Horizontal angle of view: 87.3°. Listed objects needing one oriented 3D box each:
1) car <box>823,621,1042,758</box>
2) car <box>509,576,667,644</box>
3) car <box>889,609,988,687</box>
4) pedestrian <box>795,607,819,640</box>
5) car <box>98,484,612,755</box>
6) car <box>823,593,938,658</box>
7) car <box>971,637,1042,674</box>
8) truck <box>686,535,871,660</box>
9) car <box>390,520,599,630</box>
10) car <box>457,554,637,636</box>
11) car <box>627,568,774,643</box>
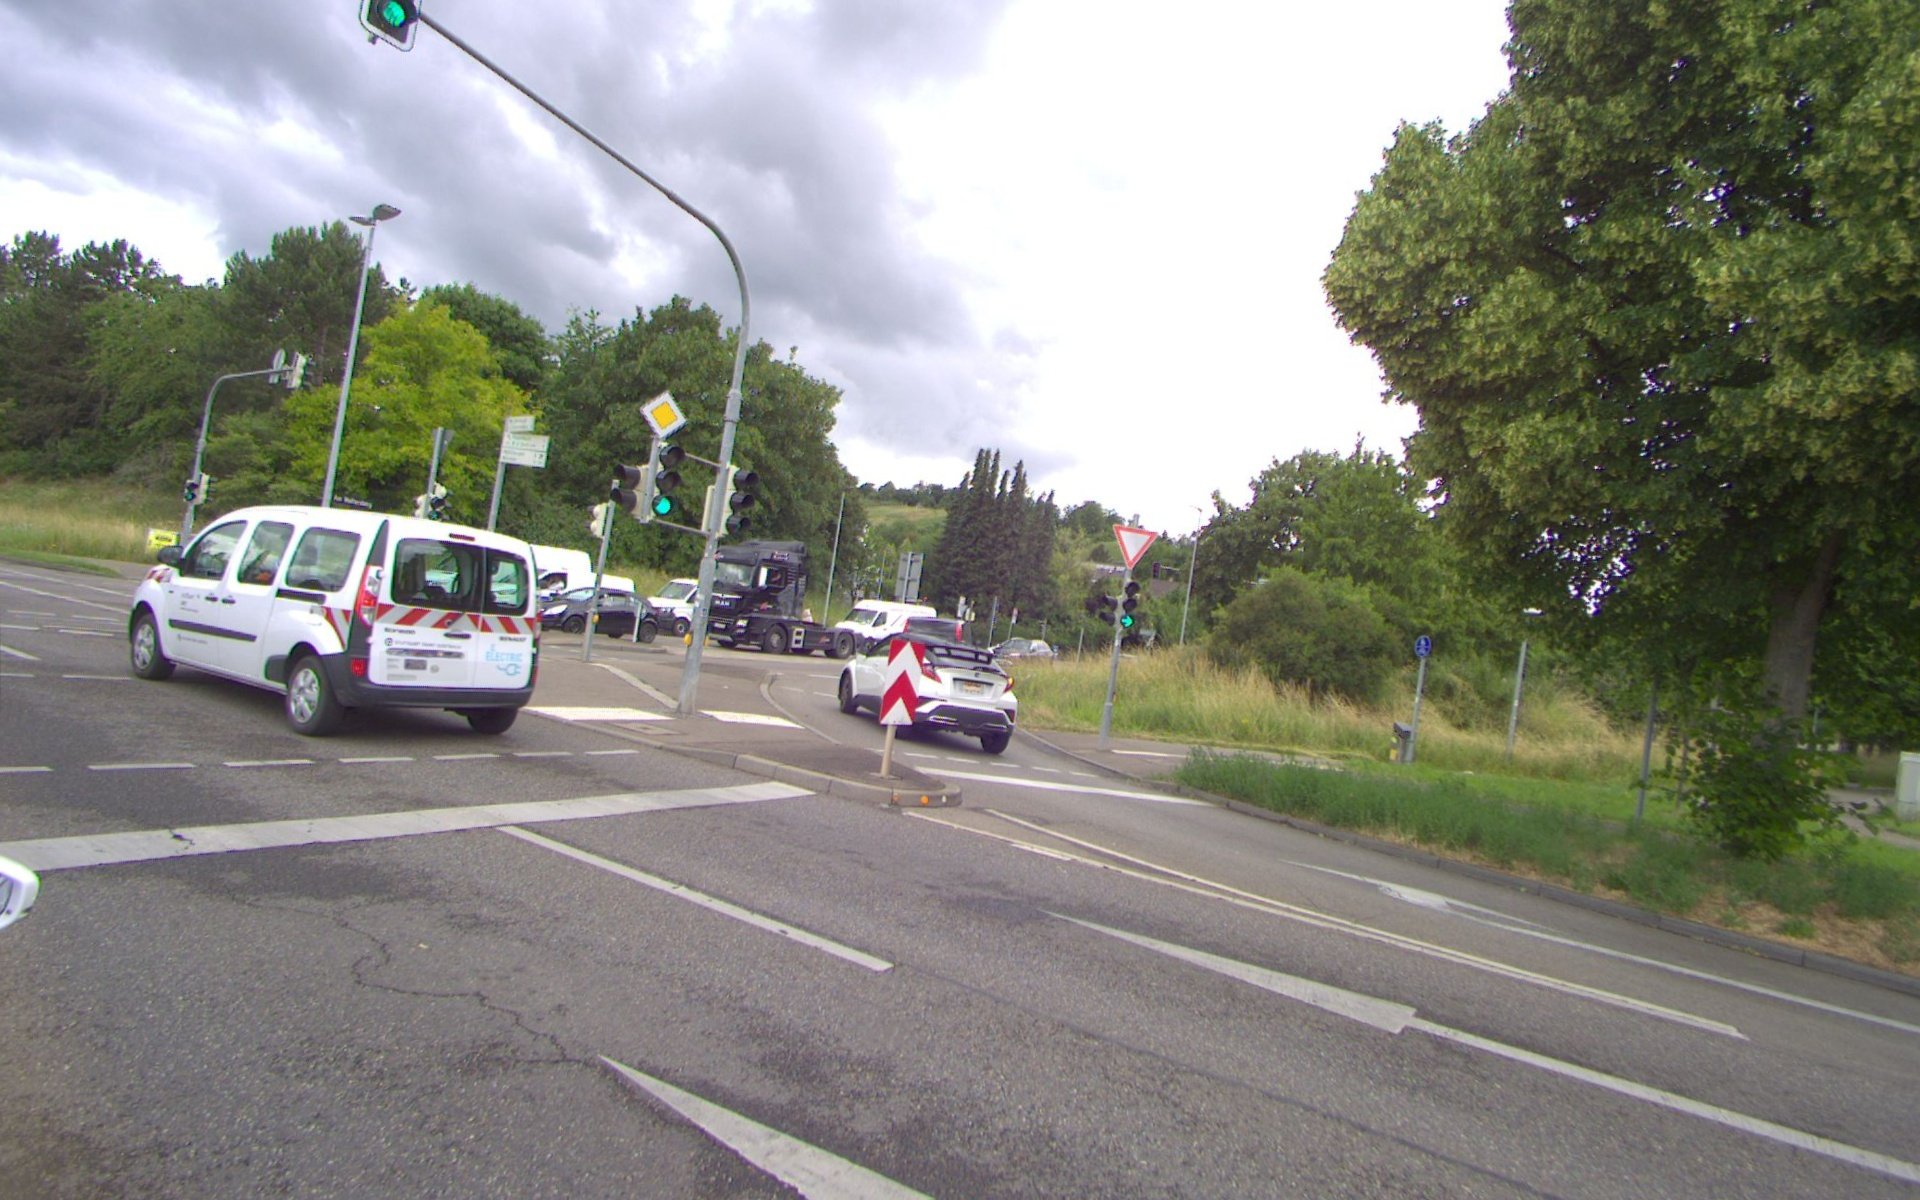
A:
[{"bbox_3d":[-0.609,1.294,15.803,1.766,1.550,4.285,11,-4,-23],"label":"car"},{"bbox_3d":[-10.606,0.336,28.934,1.703,1.453,3.927,7,-1,31],"label":"car"},{"bbox_3d":[-0.554,1.548,30.765,1.886,1.852,4.734,9,-4,11],"label":"car"},{"bbox_3d":[-8.558,1.327,56.184,0.803,1.696,0.790,7,-1,29],"label":"pedestrian"},{"bbox_3d":[-5.705,0.083,9.312,4.759,1.823,1.998,6,-1,32],"label":"car"},{"bbox_3d":[-3.930,1.364,51.459,2.160,2.640,6.509,7,-1,32],"label":"car"},{"bbox_3d":[2.337,2.759,49.409,1.703,1.453,3.927,7,-1,31],"label":"car"},{"bbox_3d":[-6.212,0.025,35.346,2.682,3.580,6.061,7,-1,32],"label":"truck"},{"bbox_3d":[-15.337,-0.735,33.602,2.100,2.814,5.903,7,-1,32],"label":"car"},{"bbox_3d":[-12.934,-0.094,31.821,1.999,1.918,4.862,7,-1,31],"label":"car"},{"bbox_3d":[-10.427,0.291,40.910,2.100,2.316,5.709,7,-1,32],"label":"car"}]
